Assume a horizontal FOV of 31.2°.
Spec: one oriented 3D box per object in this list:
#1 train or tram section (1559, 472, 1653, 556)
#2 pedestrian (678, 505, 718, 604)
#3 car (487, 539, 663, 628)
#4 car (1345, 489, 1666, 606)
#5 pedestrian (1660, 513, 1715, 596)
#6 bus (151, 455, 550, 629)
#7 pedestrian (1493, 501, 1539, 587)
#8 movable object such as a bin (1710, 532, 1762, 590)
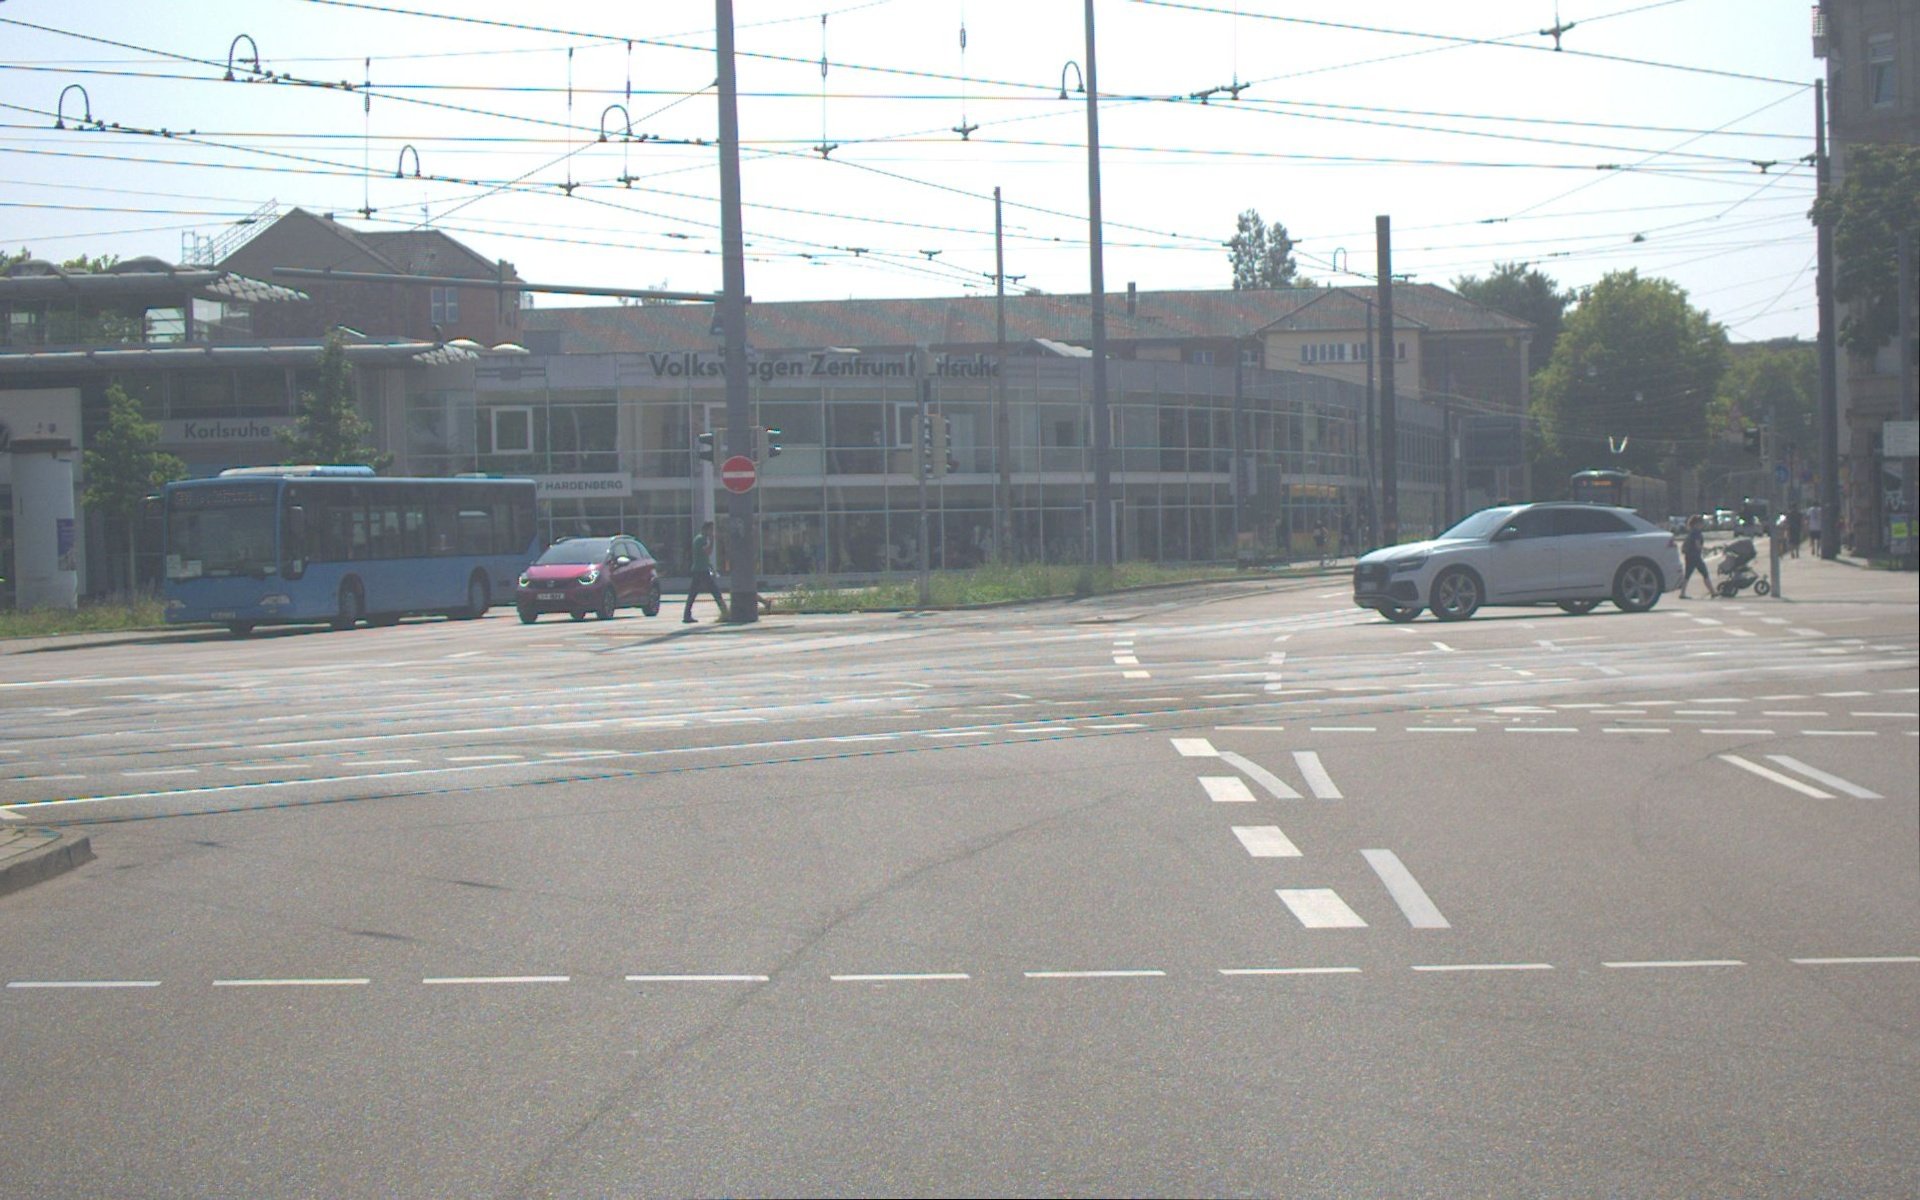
[{"bbox_3d":[28.346,-3.745,150.456,2.590,3.504,10.889,-1,1,18],"label":"train or tram section"},{"bbox_3d":[-4.463,-0.776,58.551,0.552,1.678,0.454,-1,1,-19],"label":"pedestrian"},{"bbox_3d":[-7.149,-0.326,64.231,1.751,1.546,3.997,-1,1,18],"label":"car"},{"bbox_3d":[8.037,-0.781,50.669,4.320,1.612,1.755,-2,1,-19],"label":"car"},{"bbox_3d":[13.668,-0.856,64.579,0.850,1.539,0.529,-1,1,-8],"label":"pedestrian"},{"bbox_3d":[-11.634,-1.173,67.404,2.564,3.072,12.014,-1,1,16],"label":"bus"},{"bbox_3d":[10.470,-1.054,64.748,0.699,1.597,0.573,-1,1,-8],"label":"pedestrian"},{"bbox_3d":[14.554,-0.732,64.484,0.812,1.073,0.512,-1,1,-11],"label":"movable object such as a bin"}]
